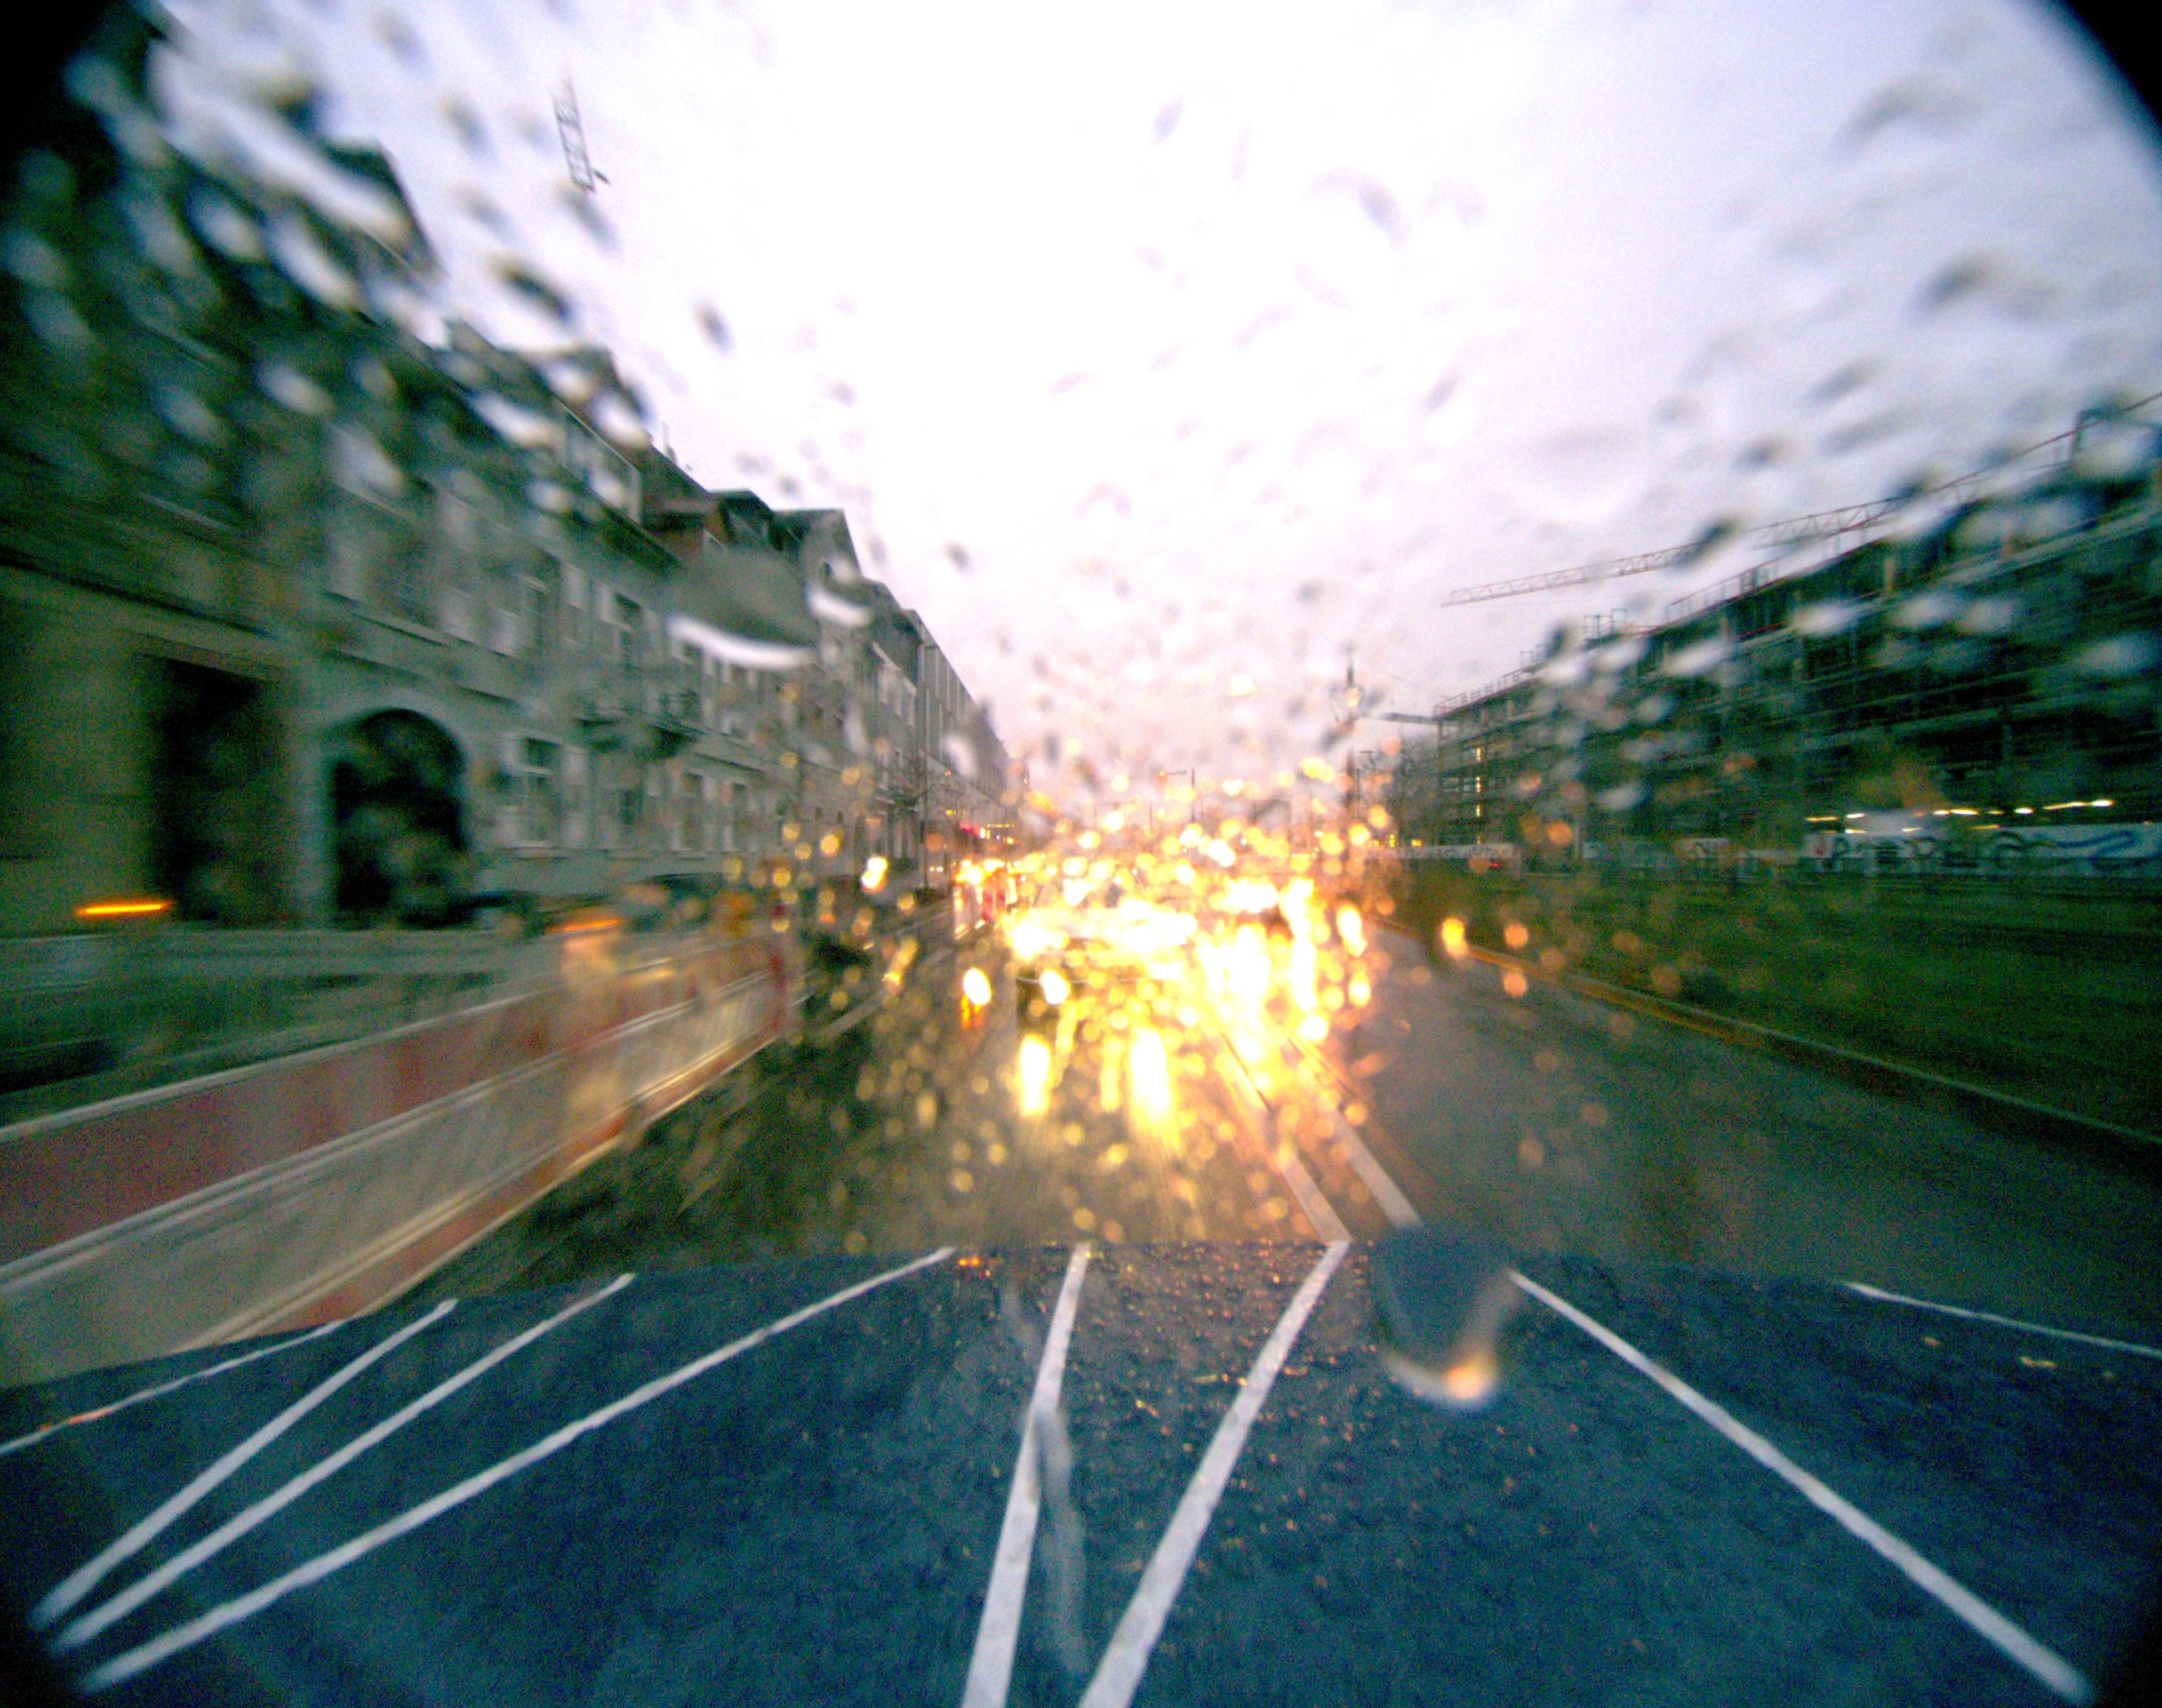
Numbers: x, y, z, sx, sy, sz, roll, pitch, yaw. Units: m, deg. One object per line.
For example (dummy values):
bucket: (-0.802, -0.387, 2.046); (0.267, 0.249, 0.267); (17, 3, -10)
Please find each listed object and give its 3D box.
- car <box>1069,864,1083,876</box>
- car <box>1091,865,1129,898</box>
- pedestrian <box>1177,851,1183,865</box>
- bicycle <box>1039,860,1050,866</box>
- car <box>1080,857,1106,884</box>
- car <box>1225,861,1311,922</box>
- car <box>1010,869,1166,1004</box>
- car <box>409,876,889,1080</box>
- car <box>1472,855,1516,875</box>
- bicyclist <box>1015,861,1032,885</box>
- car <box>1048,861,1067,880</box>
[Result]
car: (-0.718, 2.269, 108.964); (1.868, 1.652, 3.986); (-1, 0, 0)
car: (1.625, 1.526, 43.623); (1.998, 1.673, 4.000); (-2, 0, 1)
pedestrian: (12.075, 0.484, 92.411); (0.585, 1.692, 0.741); (-2, 1, 10)
bicycle: (-6.799, 1.681, 142.108); (1.908, 1.168, 0.666); (0, 0, -1)
car: (0.903, 1.187, 56.815); (1.865, 1.867, 4.000); (-2, 0, 1)
car: (4.960, 0.944, 20.666); (1.808, 1.444, 4.007); (0, 0, 7)
car: (0.134, 1.024, 11.089); (1.814, 1.464, 4.139); (-2, 0, 1)
car: (-4.438, 1.087, 8.274); (4.102, 1.509, 1.903); (-2, 0, -36)
car: (35.656, 0.933, 65.698); (1.758, 1.652, 3.765); (-1, -1, 1)
bicyclist: (-3.703, 1.218, 48.720); (0.945, 1.454, 1.066); (-2, 0, 1)
car: (-2.622, 1.814, 85.043); (1.999, 2.002, 4.000); (-1, 0, 0)
